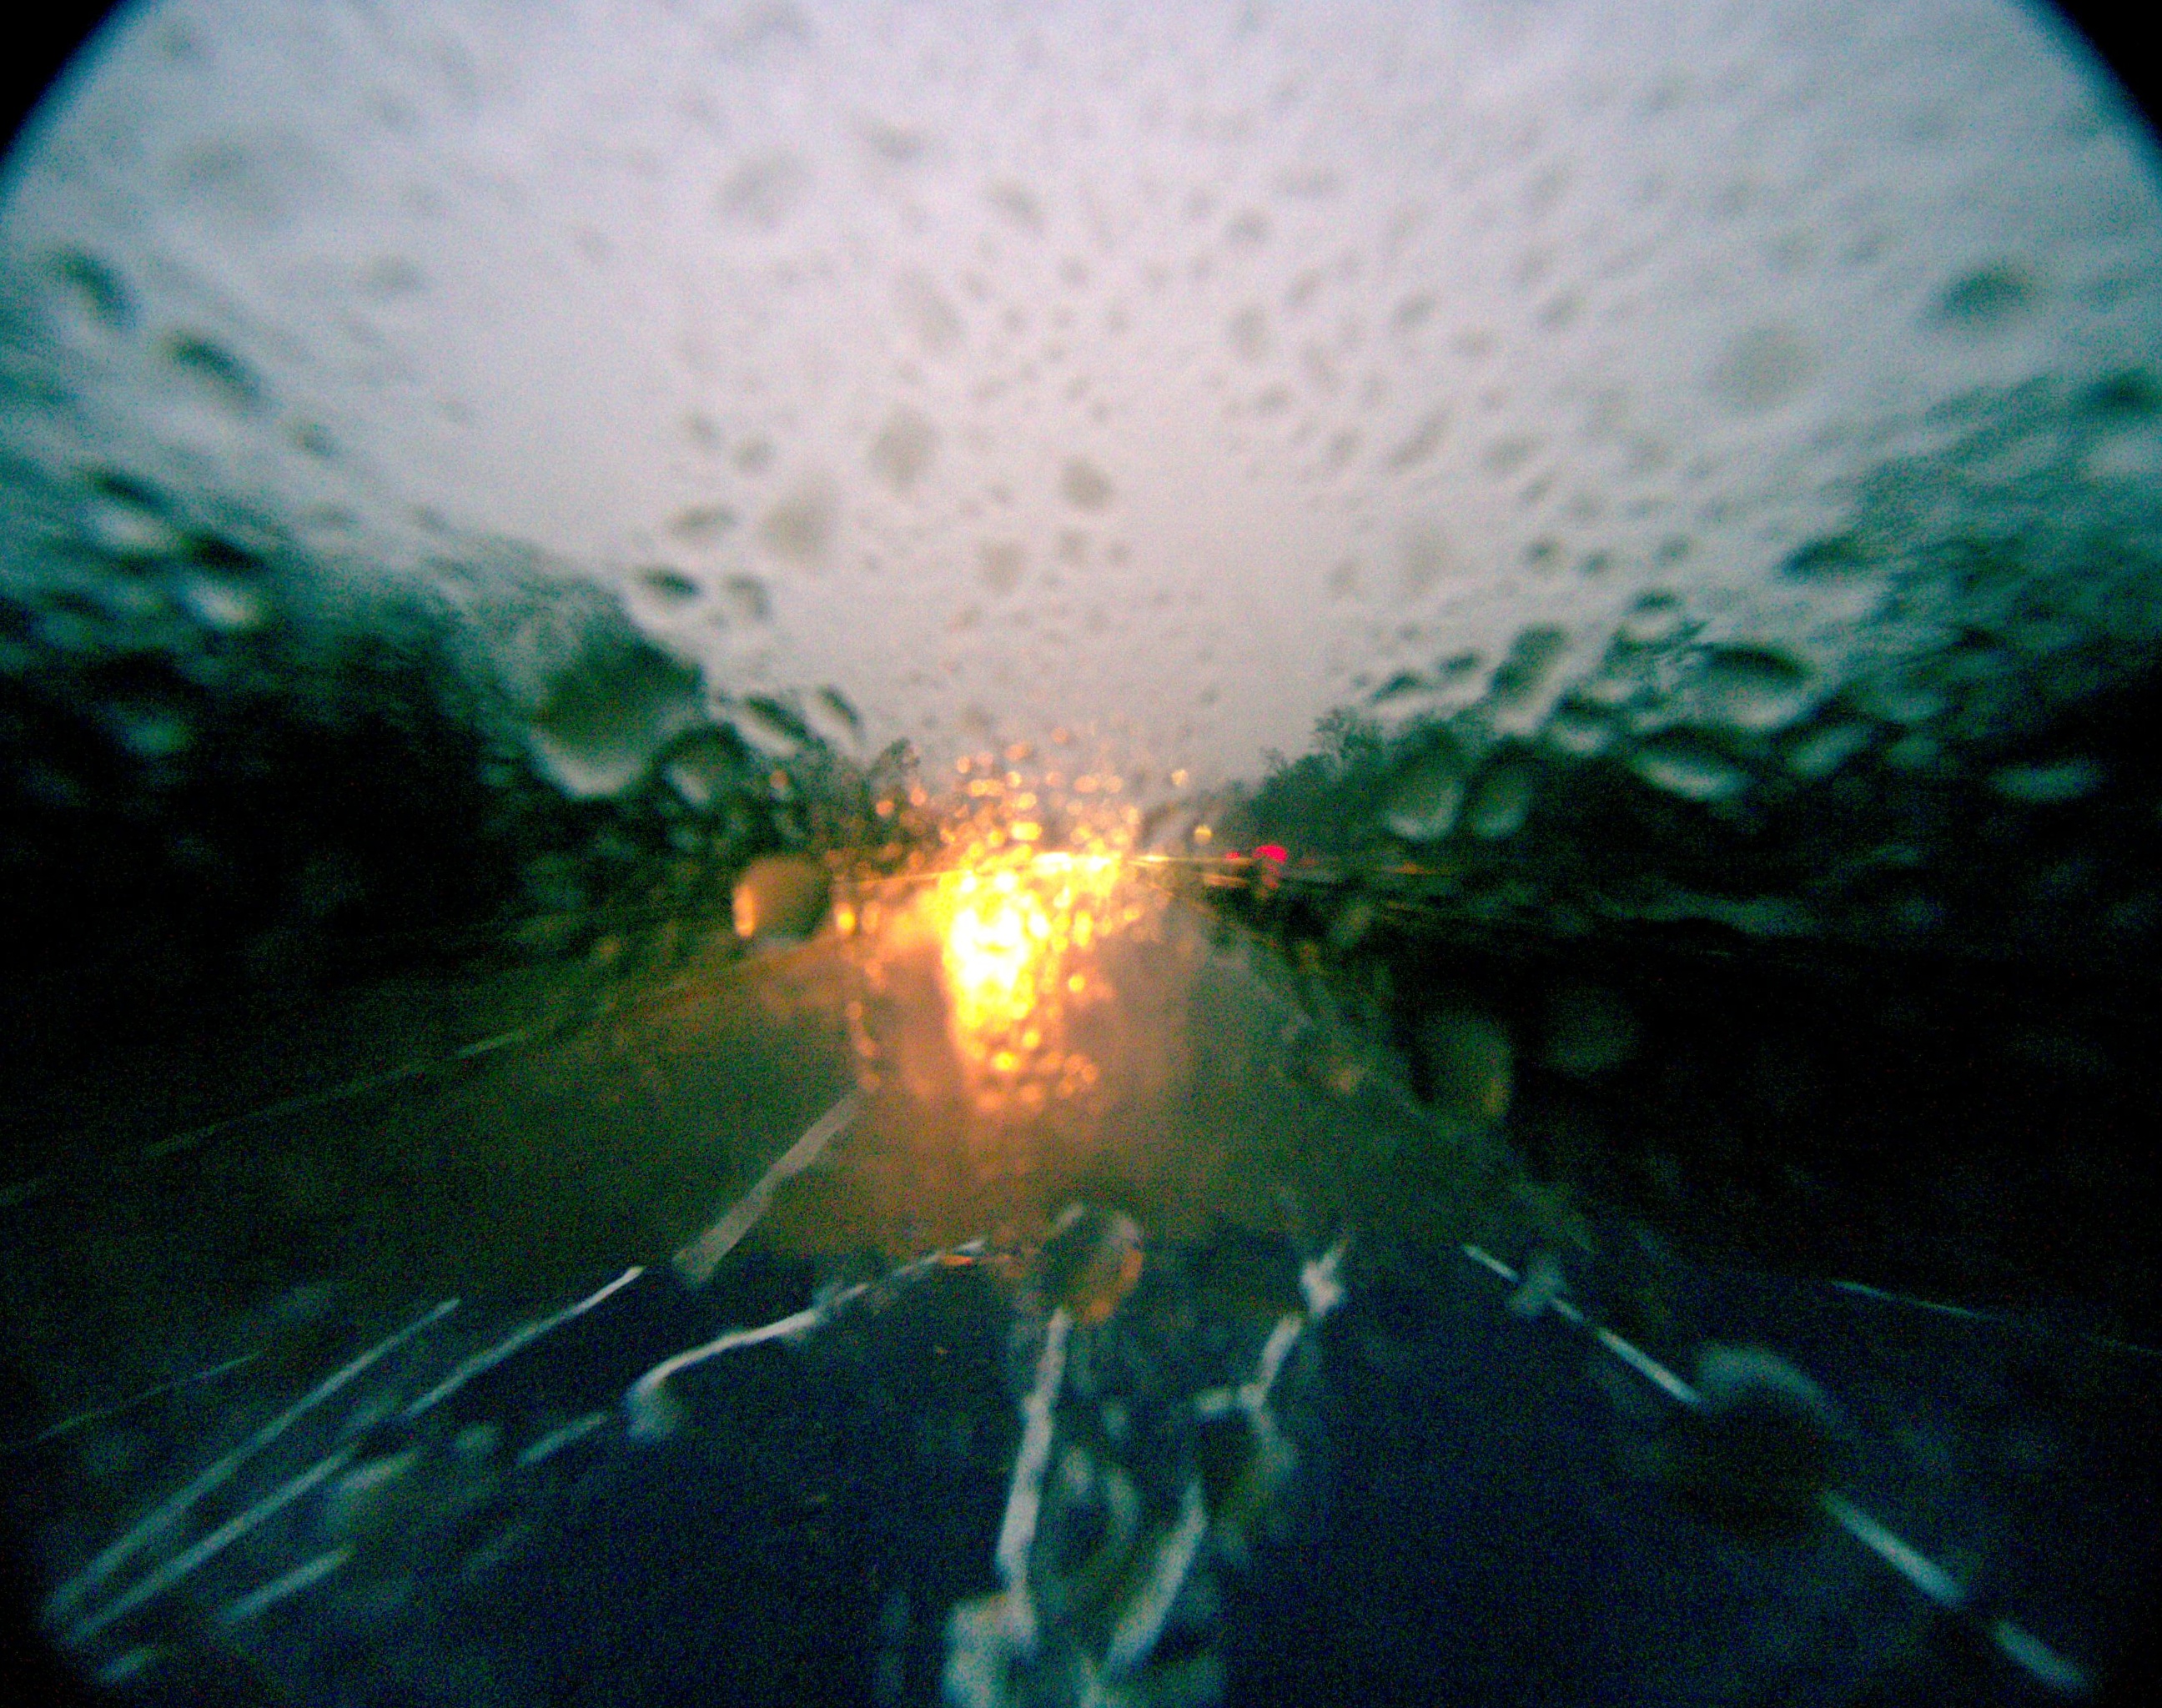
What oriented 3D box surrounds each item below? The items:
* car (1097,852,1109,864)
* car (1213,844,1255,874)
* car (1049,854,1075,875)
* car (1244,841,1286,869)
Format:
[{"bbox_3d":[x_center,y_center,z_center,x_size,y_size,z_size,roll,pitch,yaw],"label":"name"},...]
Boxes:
[{"bbox_3d":[3.308,0.617,113.793,1.690,1.718,3.787,-2,1,1],"label":"car"},{"bbox_3d":[7.767,0.201,38.833,1.547,1.388,4.123,-2,1,4],"label":"car"},{"bbox_3d":[-1.465,0.817,59.732,1.741,1.441,4.000,-2,1,3],"label":"car"},{"bbox_3d":[12.131,0.031,50.288,1.724,1.737,4.425,-2,1,1],"label":"car"}]
